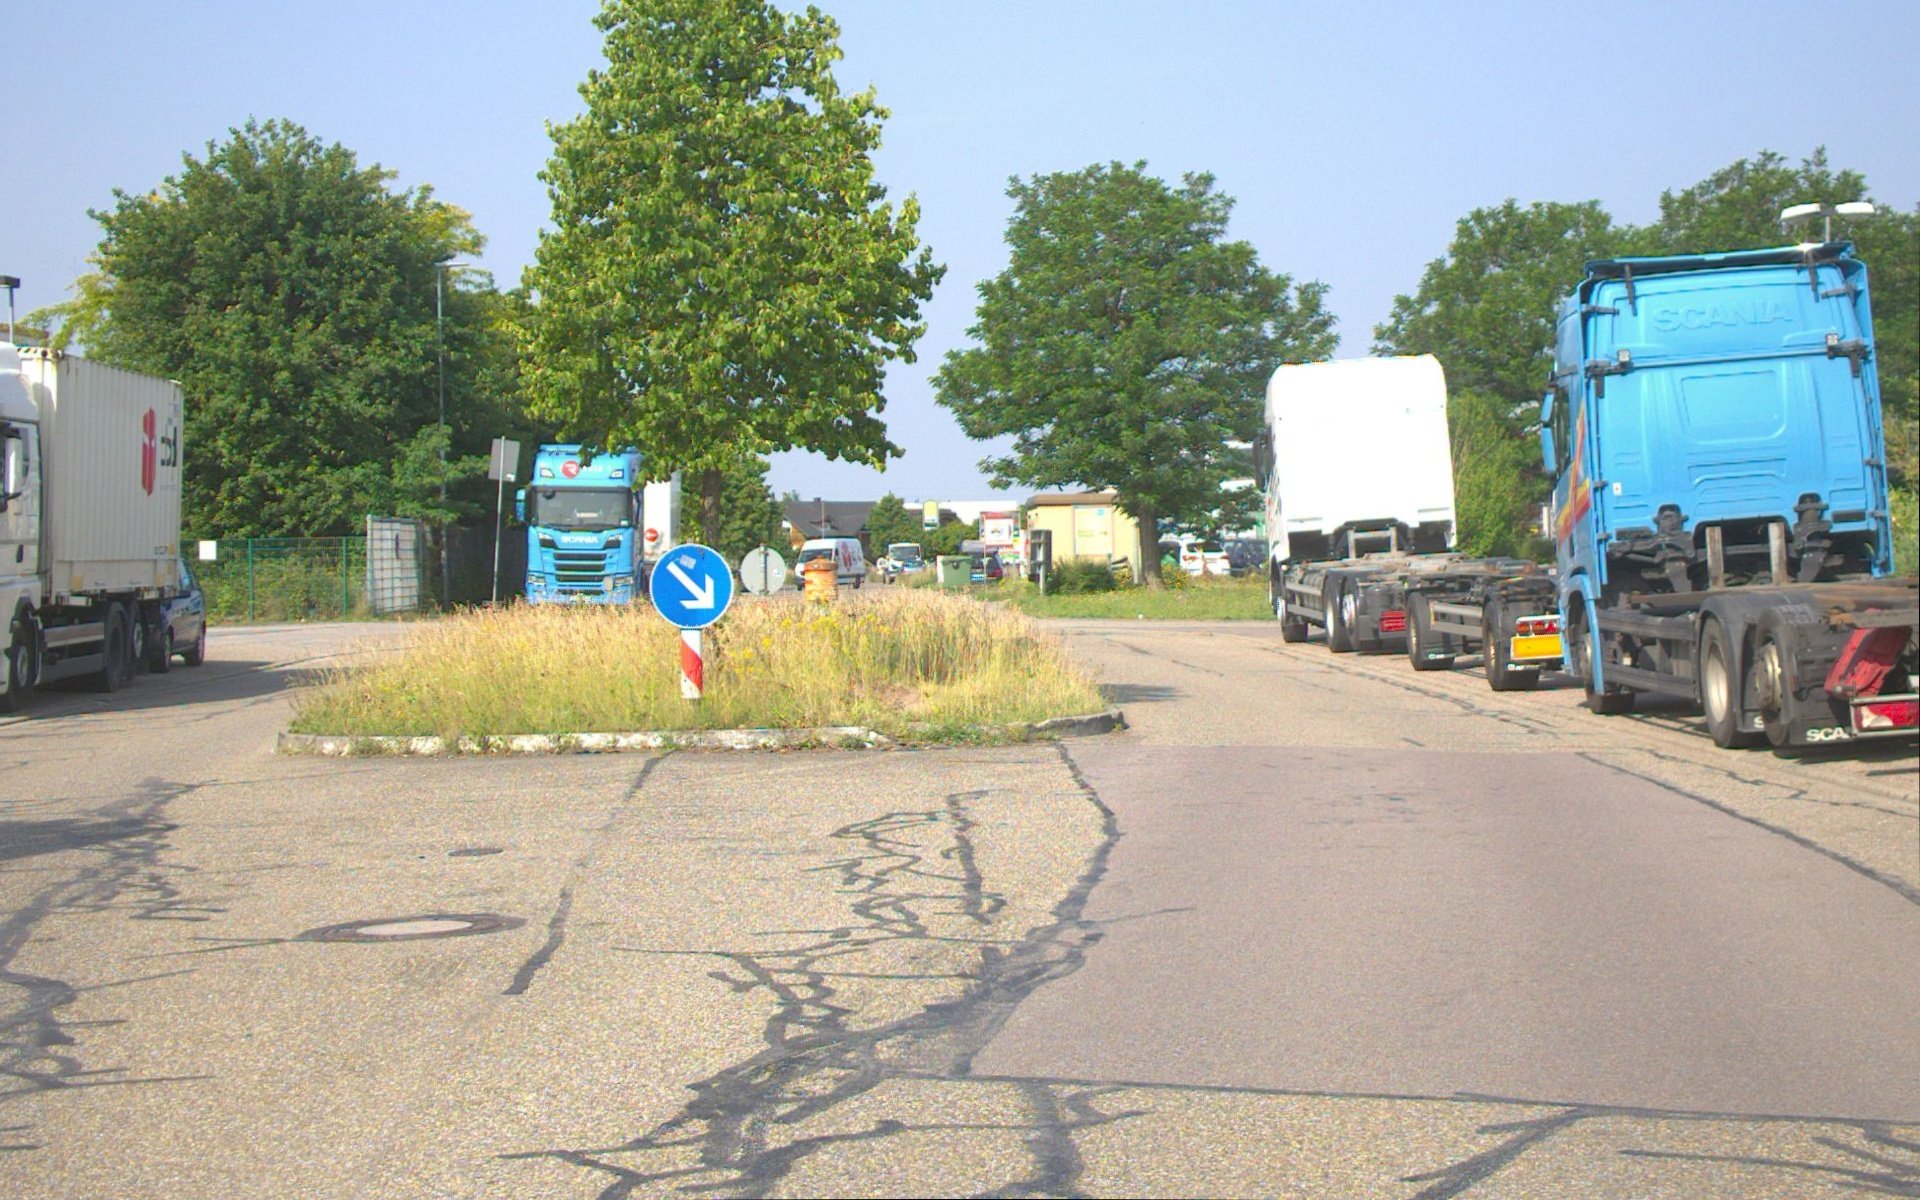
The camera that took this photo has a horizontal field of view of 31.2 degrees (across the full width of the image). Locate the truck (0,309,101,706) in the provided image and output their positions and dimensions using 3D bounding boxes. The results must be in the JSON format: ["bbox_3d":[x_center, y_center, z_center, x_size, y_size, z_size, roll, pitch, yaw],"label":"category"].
[{"bbox_3d":[-10.828,-0.923,35.949,2.708,3.908,4.297,1,0,-2],"label":"truck"}]

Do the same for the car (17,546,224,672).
[{"bbox_3d":[-11.477,0.081,47.285,1.993,1.635,4.589,0,1,-4],"label":"car"}]

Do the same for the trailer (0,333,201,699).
[{"bbox_3d":[-11.027,-0.899,40.568,2.699,3.908,7.576,1,0,-2],"label":"trailer"}]

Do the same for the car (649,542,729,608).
[{"bbox_3d":[-8.418,-0.781,106.621,1.993,2.007,4.001,-1,1,-11],"label":"car"}]

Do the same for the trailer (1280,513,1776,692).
[{"bbox_3d":[6.184,-0.079,40.948,2.746,1.568,16.173,-3,1,-2],"label":"trailer"}]

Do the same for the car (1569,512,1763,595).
[{"bbox_3d":[15.905,-1.031,77.464,3.987,1.761,2.000,1,0,-32],"label":"car"}]

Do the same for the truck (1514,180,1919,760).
[{"bbox_3d":[6.643,-0.881,26.055,2.888,3.523,9.755,-4,0,-1],"label":"truck"}]

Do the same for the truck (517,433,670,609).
[{"bbox_3d":[-8.478,-1.727,80.578,2.825,3.813,9.673,1,0,-2],"label":"truck"}]

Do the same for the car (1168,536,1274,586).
[{"bbox_3d":[7.240,-1.060,95.673,1.667,1.325,3.664,1,0,-18],"label":"car"}]

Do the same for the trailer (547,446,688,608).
[{"bbox_3d":[-8.762,-1.749,89.178,2.831,3.830,12.037,1,0,-2],"label":"trailer"}]

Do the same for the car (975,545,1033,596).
[{"bbox_3d":[1.543,-1.024,121.499,1.792,1.744,4.000,1,0,-3],"label":"car"}]

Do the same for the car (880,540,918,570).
[{"bbox_3d":[-3.952,-2.908,221.996,1.770,1.809,4.001,1,0,-11],"label":"car"}]

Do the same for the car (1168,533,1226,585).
[{"bbox_3d":[7.770,-1.335,113.048,1.717,1.612,4.000,1,0,2],"label":"car"}]

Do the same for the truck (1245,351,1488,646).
[{"bbox_3d":[5.843,-1.440,49.990,2.746,3.968,4.000,-3,1,-1],"label":"truck"}]
